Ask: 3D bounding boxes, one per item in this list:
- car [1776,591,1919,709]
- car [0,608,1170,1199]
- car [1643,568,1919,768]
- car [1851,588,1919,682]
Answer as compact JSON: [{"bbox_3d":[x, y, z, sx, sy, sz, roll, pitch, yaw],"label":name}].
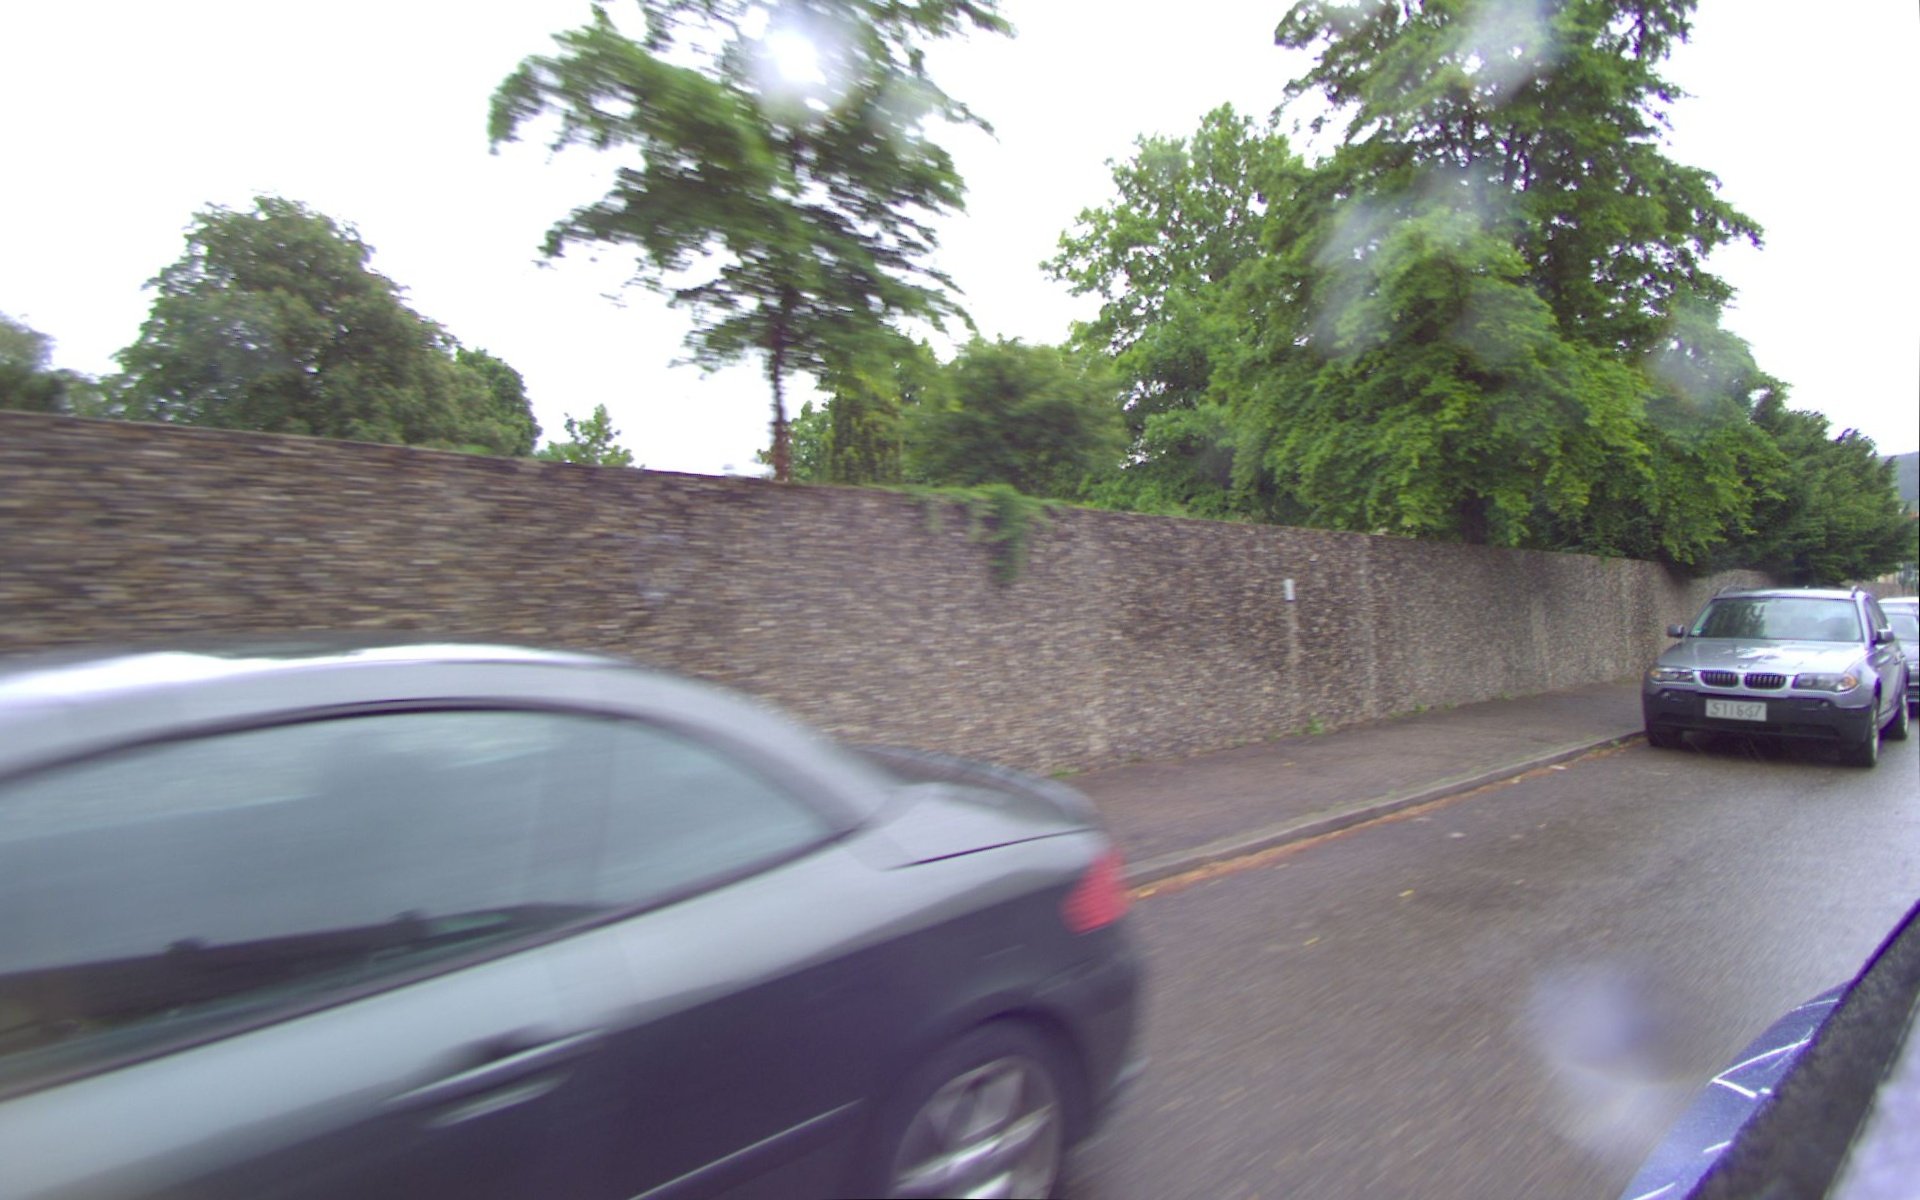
[{"bbox_3d":[13.490,0.620,14.825,4.618,1.465,1.766,-1,0,-43],"label":"car"},{"bbox_3d":[-1.542,0.726,1.697,4.111,1.389,1.653,0,0,-43],"label":"car"},{"bbox_3d":[8.858,0.545,10.702,4.422,1.689,1.744,-1,0,-43],"label":"car"},{"bbox_3d":[18.023,0.588,18.651,3.811,1.593,1.818,-1,0,-39],"label":"car"}]
